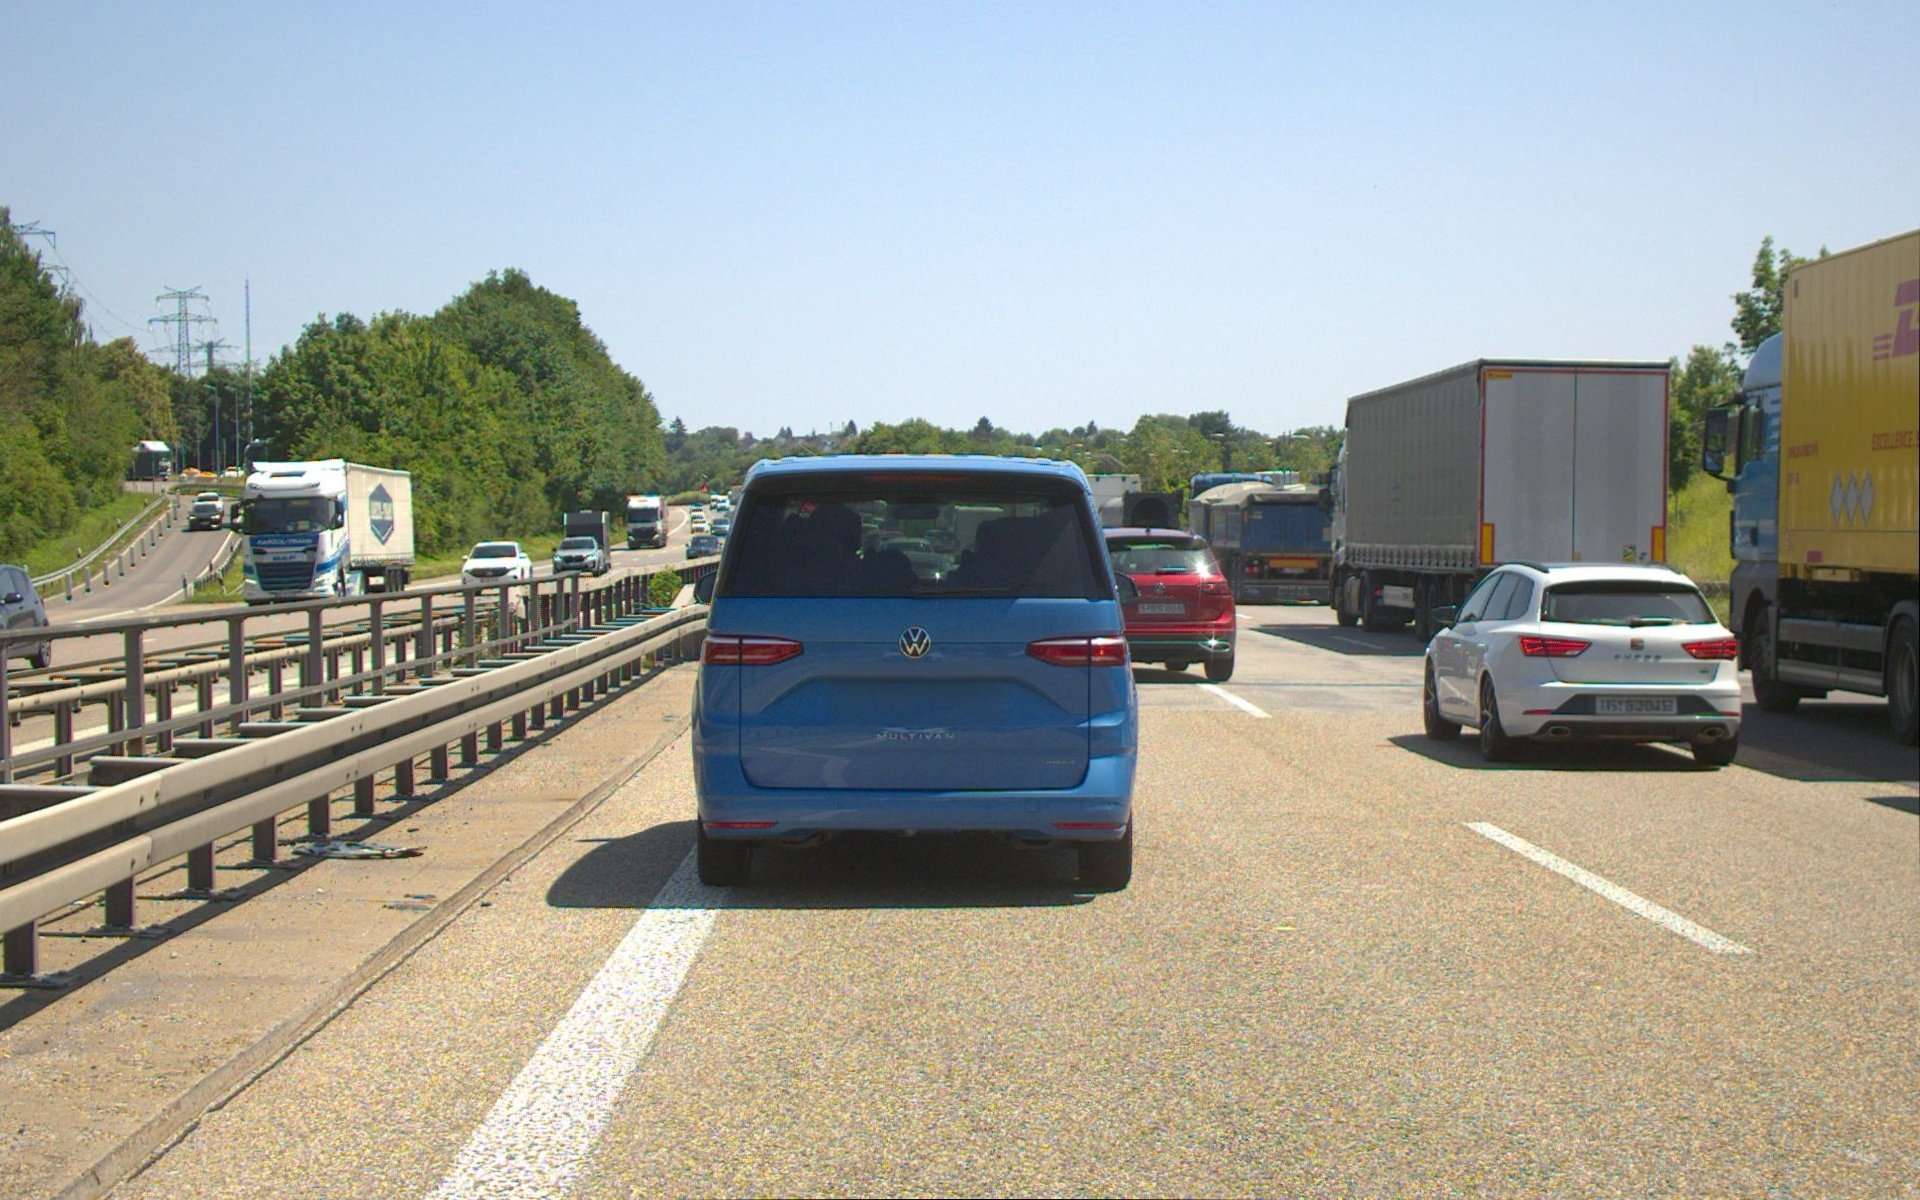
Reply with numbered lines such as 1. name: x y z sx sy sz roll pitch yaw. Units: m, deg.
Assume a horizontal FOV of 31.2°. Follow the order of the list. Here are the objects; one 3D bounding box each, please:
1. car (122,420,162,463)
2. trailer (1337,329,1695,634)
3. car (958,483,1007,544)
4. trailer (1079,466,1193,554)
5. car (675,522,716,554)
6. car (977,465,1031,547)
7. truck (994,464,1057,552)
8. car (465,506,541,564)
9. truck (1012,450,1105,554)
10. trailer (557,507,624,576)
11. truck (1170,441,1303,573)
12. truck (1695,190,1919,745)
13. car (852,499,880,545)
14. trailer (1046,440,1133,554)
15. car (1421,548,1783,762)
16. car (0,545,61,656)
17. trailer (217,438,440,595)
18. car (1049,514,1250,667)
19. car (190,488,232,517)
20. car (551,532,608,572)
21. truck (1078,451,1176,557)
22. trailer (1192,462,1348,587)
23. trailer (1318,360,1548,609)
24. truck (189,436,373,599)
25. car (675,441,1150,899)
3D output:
1. car: -59.209 -11.440 248.728 2.068 2.870 6.735 -1 1 -20
2. trailer: 8.155 -1.753 52.643 2.962 4.035 13.753 0 1 -1
3. car: 1.141 -4.325 172.982 2.286 2.997 5.574 1 1 2
4. trailer: 6.548 -3.329 130.239 3.646 3.068 15.772 1 1 1
5. car: -13.427 -3.132 174.885 1.792 1.567 4.000 1 1 0
6. car: 2.907 -6.187 228.233 3.218 5.239 8.145 1 1 -1
7. truck: 3.776 -5.284 199.503 3.068 4.903 10.691 1 1 -2
8. car: -13.996 -1.971 105.468 1.749 1.690 4.385 -2 1 0
9. truck: 5.129 -5.114 182.735 3.621 5.194 15.691 1 1 -3
10. trailer: -15.806 -2.497 147.314 2.166 2.768 5.377 -3 1 0
11. truck: 7.242 -2.503 90.856 2.743 3.300 7.134 1 2 -1
12. truck: 8.452 -0.997 27.884 2.765 4.095 9.953 1 1 0
13. car: -7.029 -5.811 257.575 1.993 3.402 4.000 1 1 -2
14. trailer: 6.036 -4.756 162.353 3.646 5.118 13.076 1 1 1
15. car: 4.589 0.341 25.136 1.867 1.356 4.000 1 1 0
16. car: -13.406 0.003 46.326 1.652 1.457 3.542 -1 1 0
17. trailer: -18.527 -2.413 102.035 3.989 4.221 14.041 -2 1 0
18. car: 2.016 -0.124 37.565 1.870 1.546 4.000 1 1 -1
19. car: -43.639 -5.660 200.390 1.993 1.570 5.276 1 1 -8
20. car: -15.752 -1.992 142.404 1.870 1.620 4.629 0 1 0
21. truck: 6.677 -3.824 138.601 3.626 4.080 7.524 1 1 1
22. trailer: 7.438 -1.929 83.709 2.743 2.826 9.117 1 2 -1
23. trailer: 8.039 -1.982 59.272 2.924 4.030 6.411 0 2 -1
24. truck: -18.490 -2.230 93.954 4.005 4.214 4.859 -2 1 -1
25. car: -0.194 0.259 16.014 1.901 1.831 4.000 1 1 0
